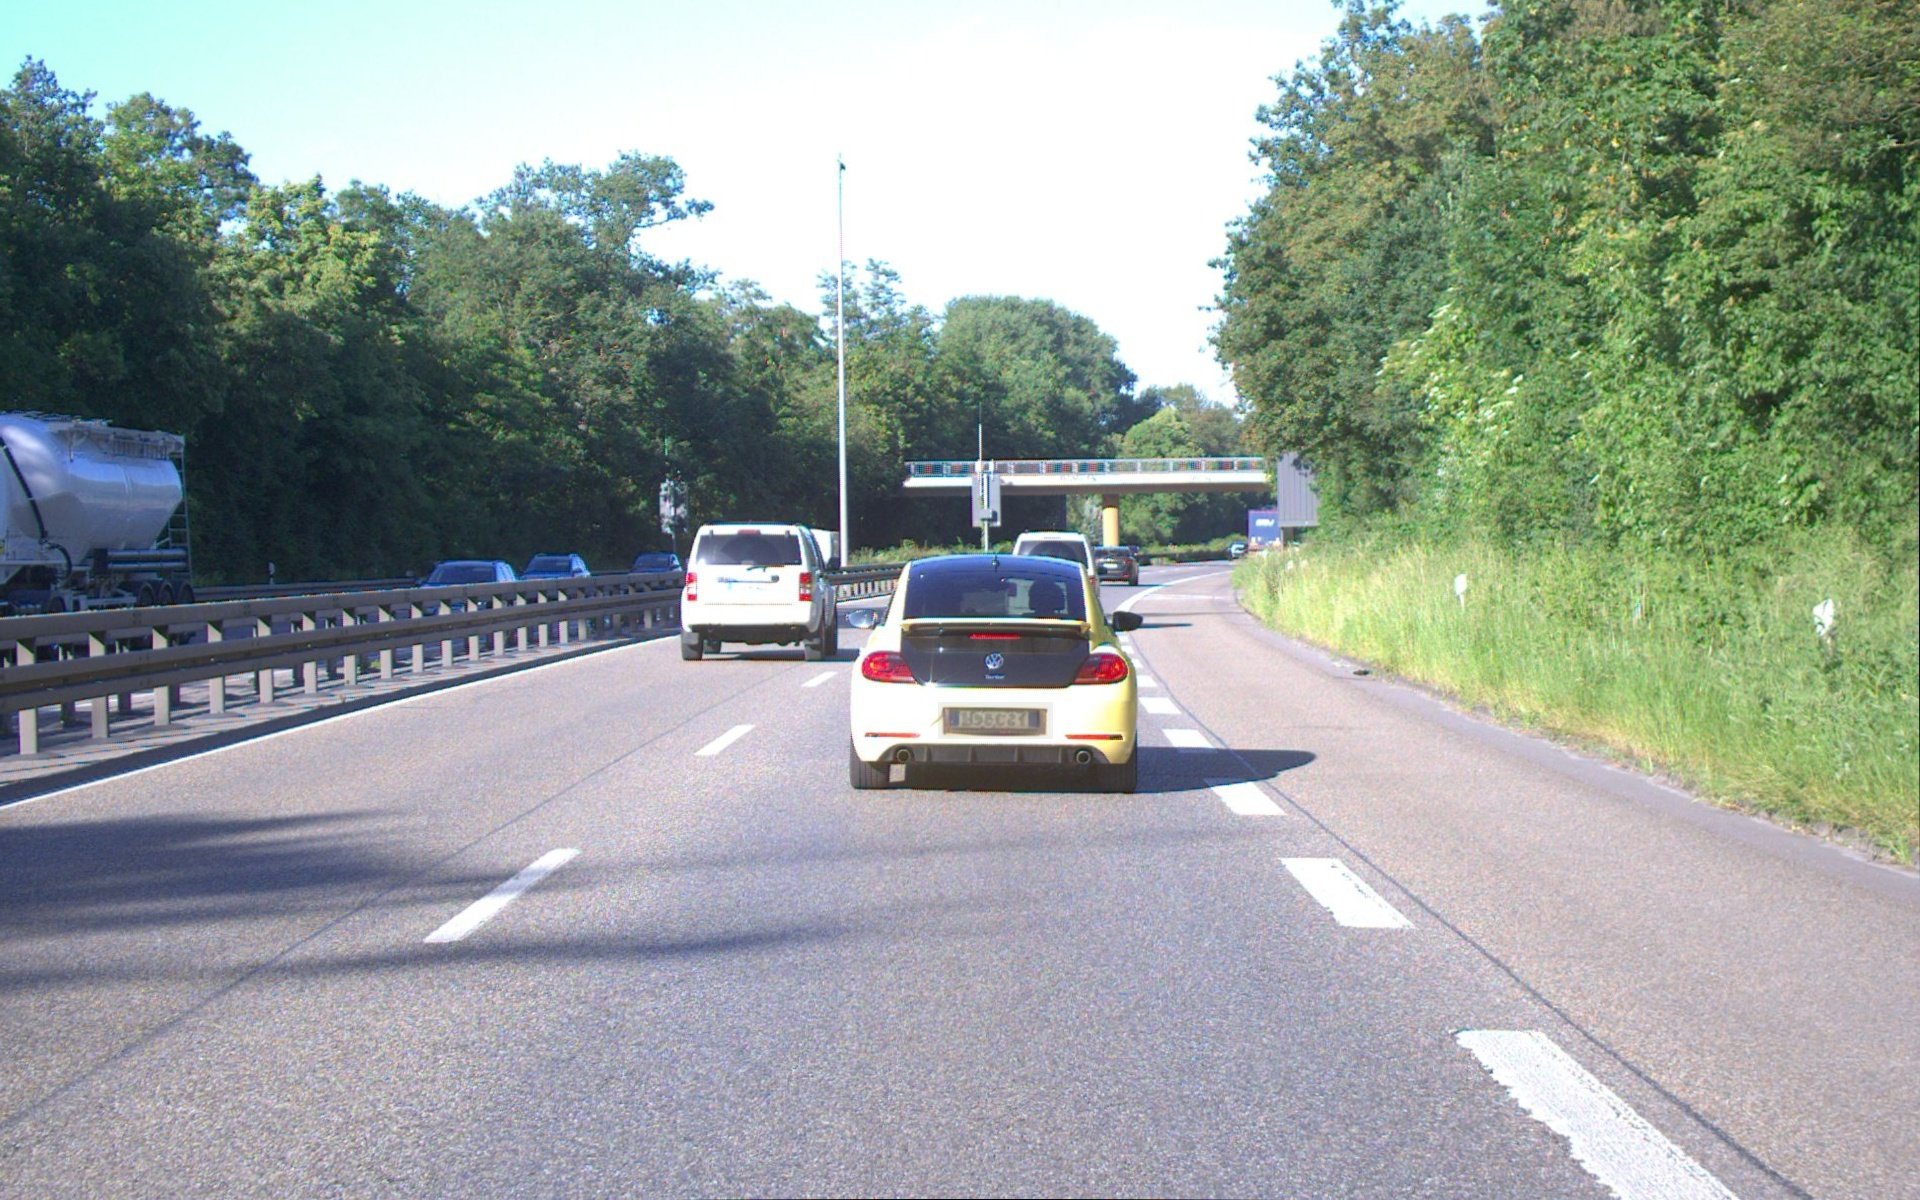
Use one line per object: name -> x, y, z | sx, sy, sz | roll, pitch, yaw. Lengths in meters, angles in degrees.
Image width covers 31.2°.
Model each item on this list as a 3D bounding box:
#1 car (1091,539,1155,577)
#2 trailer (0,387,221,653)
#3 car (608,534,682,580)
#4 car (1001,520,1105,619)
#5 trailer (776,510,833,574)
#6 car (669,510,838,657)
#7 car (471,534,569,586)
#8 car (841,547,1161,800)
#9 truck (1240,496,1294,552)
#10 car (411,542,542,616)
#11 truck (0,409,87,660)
car -> 6.124, -1.584, 129.018 | 1.994, 1.393, 3.999 | 0, 1, 9
trailer -> -15.126, -1.284, 57.044 | 3.052, 3.983, 10.973 | -1, 1, 1
car -> -11.299, -1.560, 123.712 | 2.071, 1.608, 5.059 | 0, 1, 1
car -> 1.779, -0.595, 64.708 | 1.863, 1.764, 4.469 | -1, 1, 2
trailer -> -6.073, -2.264, 134.551 | 1.993, 2.429, 4.607 | -1, 1, 0
car -> -2.687, -0.245, 45.496 | 2.085, 1.822, 4.000 | -1, 1, -2
car -> -12.762, -1.175, 99.962 | 2.071, 1.462, 4.986 | 0, 1, 1
car -> 0.179, 0.406, 22.625 | 1.879, 1.456, 4.356 | 1, 1, -2
truck -> 23.359, -5.738, 261.163 | 3.497, 4.158, 8.859 | -1, 1, 9
car -> -10.056, -0.462, 71.807 | 1.798, 1.462, 4.696 | -1, 1, 3
truck -> -15.276, -0.950, 50.733 | 2.981, 3.617, 6.155 | -1, 1, 2
